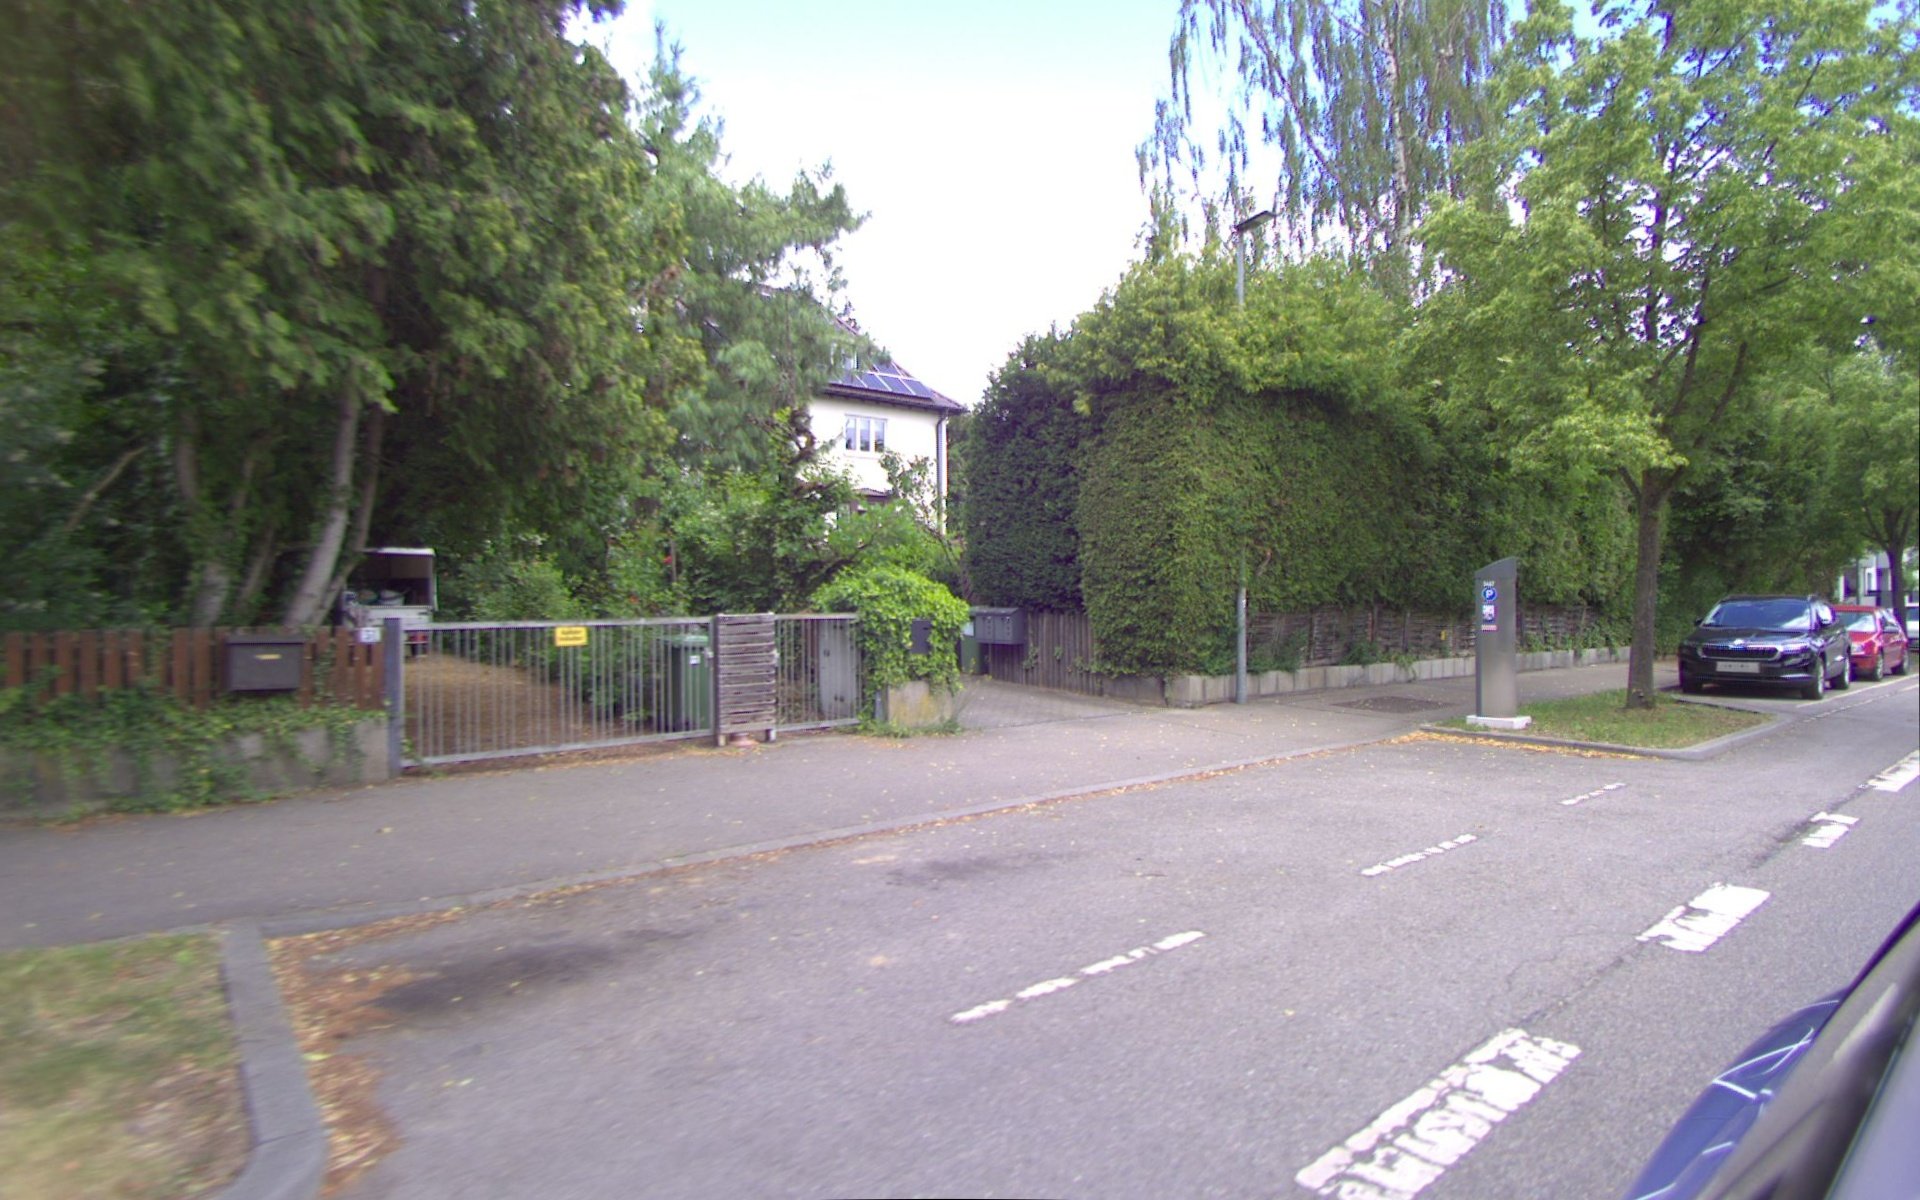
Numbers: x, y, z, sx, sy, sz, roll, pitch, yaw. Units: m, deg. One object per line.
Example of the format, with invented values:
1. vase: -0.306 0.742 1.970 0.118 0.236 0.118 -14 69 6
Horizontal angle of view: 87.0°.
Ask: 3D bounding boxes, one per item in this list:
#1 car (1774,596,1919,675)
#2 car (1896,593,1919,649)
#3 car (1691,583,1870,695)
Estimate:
1. car: 18.021 0.643 20.381 3.926 1.438 1.642 0 1 -37
2. car: 27.123 0.566 27.772 3.591 1.478 1.619 0 1 -39
3. car: 13.714 0.562 16.840 4.097 1.636 1.640 0 0 -41
